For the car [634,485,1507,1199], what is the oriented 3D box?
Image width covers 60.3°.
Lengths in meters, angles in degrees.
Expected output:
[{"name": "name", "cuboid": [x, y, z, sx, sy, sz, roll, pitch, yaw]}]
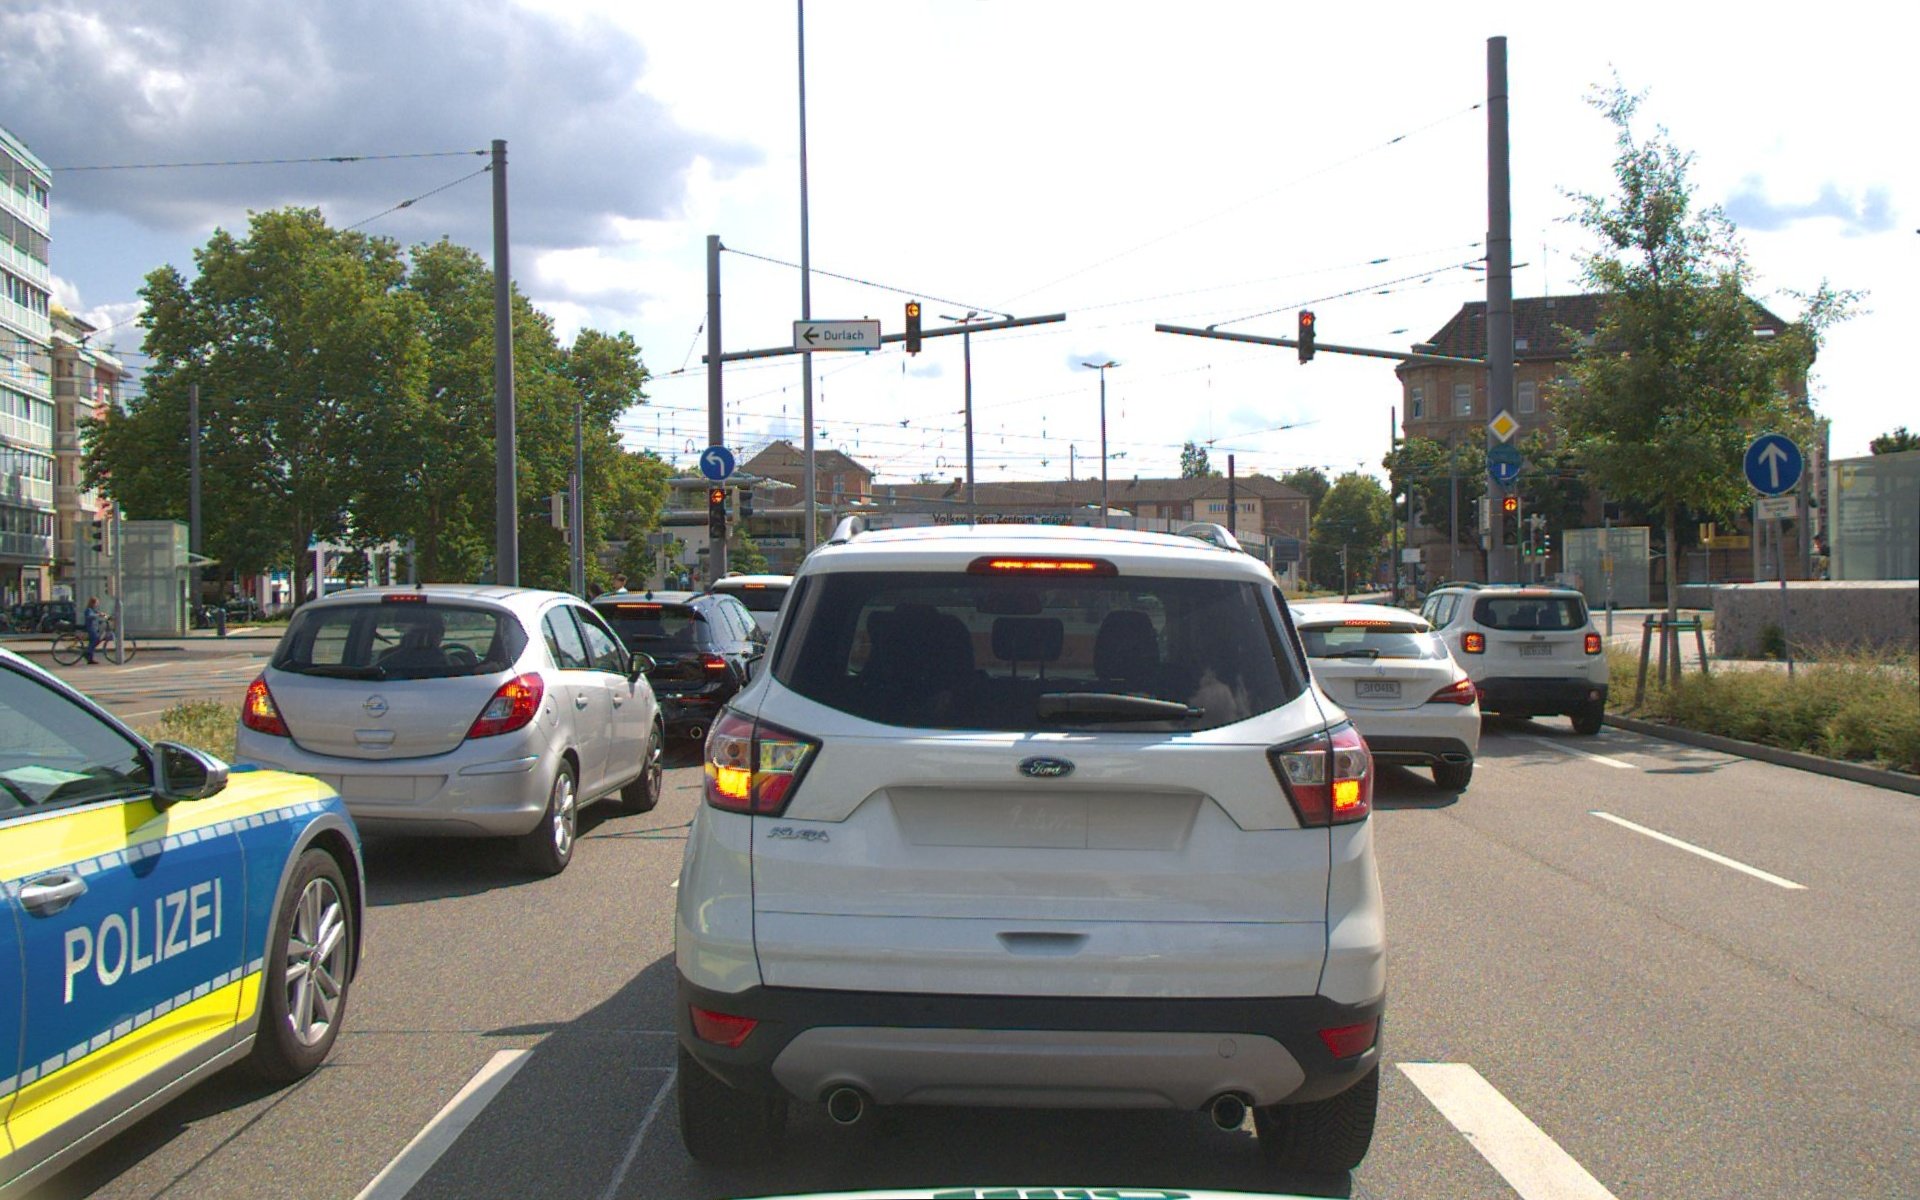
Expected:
[{"name": "car", "cuboid": [0.315, 0.613, 5.389, 1.789, 1.693, 3.957, 0, 0, 3]}]

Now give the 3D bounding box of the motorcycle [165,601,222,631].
[{"name": "motorcycle", "cuboid": [-33.141, 0.686, 71.494, 2.165, 1.259, 0.906, -1, 1, 17]}]

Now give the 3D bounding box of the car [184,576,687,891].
[{"name": "car", "cuboid": [-2.870, 0.639, 10.022, 1.810, 1.500, 3.999, -1, 0, -1]}]

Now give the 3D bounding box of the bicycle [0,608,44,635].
[{"name": "bicycle", "cuboid": [-40.945, 0.931, 71.998, 1.776, 1.167, 0.792, -1, 0, -19]}]

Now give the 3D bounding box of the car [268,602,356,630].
[{"name": "car", "cuboid": [-33.684, 0.840, 86.076, 3.907, 1.350, 1.632, -2, -1, -3]}]

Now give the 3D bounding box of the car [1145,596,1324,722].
[{"name": "car", "cuboid": [3.361, 0.675, 20.864, 1.811, 1.443, 3.680, 0, 0, 3]}]

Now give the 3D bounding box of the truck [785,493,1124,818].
[{"name": "truck", "cuboid": [-0.011, 0.365, 14.149, 2.291, 2.193, 5.852, 0, 0, 0]}]

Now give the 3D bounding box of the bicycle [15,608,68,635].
[{"name": "bicycle", "cuboid": [-40.699, 0.955, 73.306, 1.914, 1.167, 0.792, -1, 0, -19]}]

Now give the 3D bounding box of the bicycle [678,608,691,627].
[{"name": "bicycle", "cuboid": [-17.037, 1.076, 102.238, 0.625, 1.145, 1.782, 0, 1, -6]}]

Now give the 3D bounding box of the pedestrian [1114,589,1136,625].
[{"name": "pedestrian", "cuboid": [8.074, 0.344, 80.930, 0.579, 1.774, 0.921, 0, -1, 42]}]

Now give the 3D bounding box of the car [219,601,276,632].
[{"name": "car", "cuboid": [-35.670, 0.842, 82.900, 1.872, 1.438, 3.987, -1, -1, -12]}]

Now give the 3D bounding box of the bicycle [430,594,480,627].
[{"name": "bicycle", "cuboid": [-22.782, 0.465, 74.582, 2.133, 1.439, 0.809, 0, 1, -16]}]

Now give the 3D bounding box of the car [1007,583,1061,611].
[{"name": "car", "cuboid": [4.232, -0.201, 93.758, 1.860, 1.487, 3.969, -2, 0, 21]}]

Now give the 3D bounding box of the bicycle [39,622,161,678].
[{"name": "bicycle", "cuboid": [-19.826, 1.142, 38.166, 2.248, 1.209, 0.994, -2, 0, -4]}]

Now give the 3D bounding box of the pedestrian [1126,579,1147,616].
[{"name": "pedestrian", "cuboid": [8.558, -0.123, 80.341, 0.579, 1.774, 0.921, 0, -1, 42]}]

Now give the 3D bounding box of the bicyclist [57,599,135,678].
[{"name": "bicyclist", "cuboid": [-19.917, 0.885, 38.144, 1.271, 1.761, 0.994, -1, 0, -3]}]

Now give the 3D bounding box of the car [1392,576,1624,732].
[{"name": "car", "cuboid": [6.455, 0.591, 19.925, 1.797, 1.681, 4.002, 0, 0, 5]}]

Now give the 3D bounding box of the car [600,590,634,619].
[{"name": "car", "cuboid": [-25.538, 0.346, 123.250, 1.955, 2.049, 4.226, -2, -1, -5]}]

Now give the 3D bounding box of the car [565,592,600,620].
[{"name": "car", "cuboid": [-28.145, 0.474, 123.465, 1.929, 1.971, 4.226, -2, -1, -5]}]

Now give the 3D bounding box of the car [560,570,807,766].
[{"name": "car", "cuboid": [-2.504, 0.551, 15.996, 1.727, 1.595, 4.525, -1, 0, -2]}]

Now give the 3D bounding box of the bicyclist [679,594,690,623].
[{"name": "bicyclist", "cuboid": [-17.021, 0.522, 102.116, 0.625, 1.768, 0.661, 0, 1, -6]}]

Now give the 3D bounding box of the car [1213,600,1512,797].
[{"name": "car", "cuboid": [3.253, 0.724, 14.060, 1.811, 1.443, 3.680, 0, 0, 3]}]

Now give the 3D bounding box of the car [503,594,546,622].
[{"name": "car", "cuboid": [-32.728, 0.592, 124.407, 1.928, 1.971, 5.067, -2, -1, -1]}]

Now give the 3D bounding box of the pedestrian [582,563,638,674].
[{"name": "pedestrian", "cuboid": [-6.265, 0.331, 29.662, 0.830, 1.950, 0.692, -1, -1, -1]}]

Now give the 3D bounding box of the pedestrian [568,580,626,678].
[{"name": "pedestrian", "cuboid": [-6.330, 0.505, 28.854, 0.830, 1.676, 0.692, -1, -1, -1]}]

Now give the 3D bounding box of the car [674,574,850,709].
[{"name": "car", "cuboid": [-2.515, 0.492, 22.082, 1.999, 1.606, 4.537, 0, 0, -3]}]

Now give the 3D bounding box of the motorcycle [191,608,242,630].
[{"name": "motorcycle", "cuboid": [-34.307, 0.873, 76.319, 0.795, 0.933, 2.037, 0, 1, 36]}]

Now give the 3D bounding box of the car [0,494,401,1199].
[{"name": "car", "cuboid": [-2.742, 0.608, 3.195, 1.842, 1.595, 4.614, -1, 0, -2]}]
